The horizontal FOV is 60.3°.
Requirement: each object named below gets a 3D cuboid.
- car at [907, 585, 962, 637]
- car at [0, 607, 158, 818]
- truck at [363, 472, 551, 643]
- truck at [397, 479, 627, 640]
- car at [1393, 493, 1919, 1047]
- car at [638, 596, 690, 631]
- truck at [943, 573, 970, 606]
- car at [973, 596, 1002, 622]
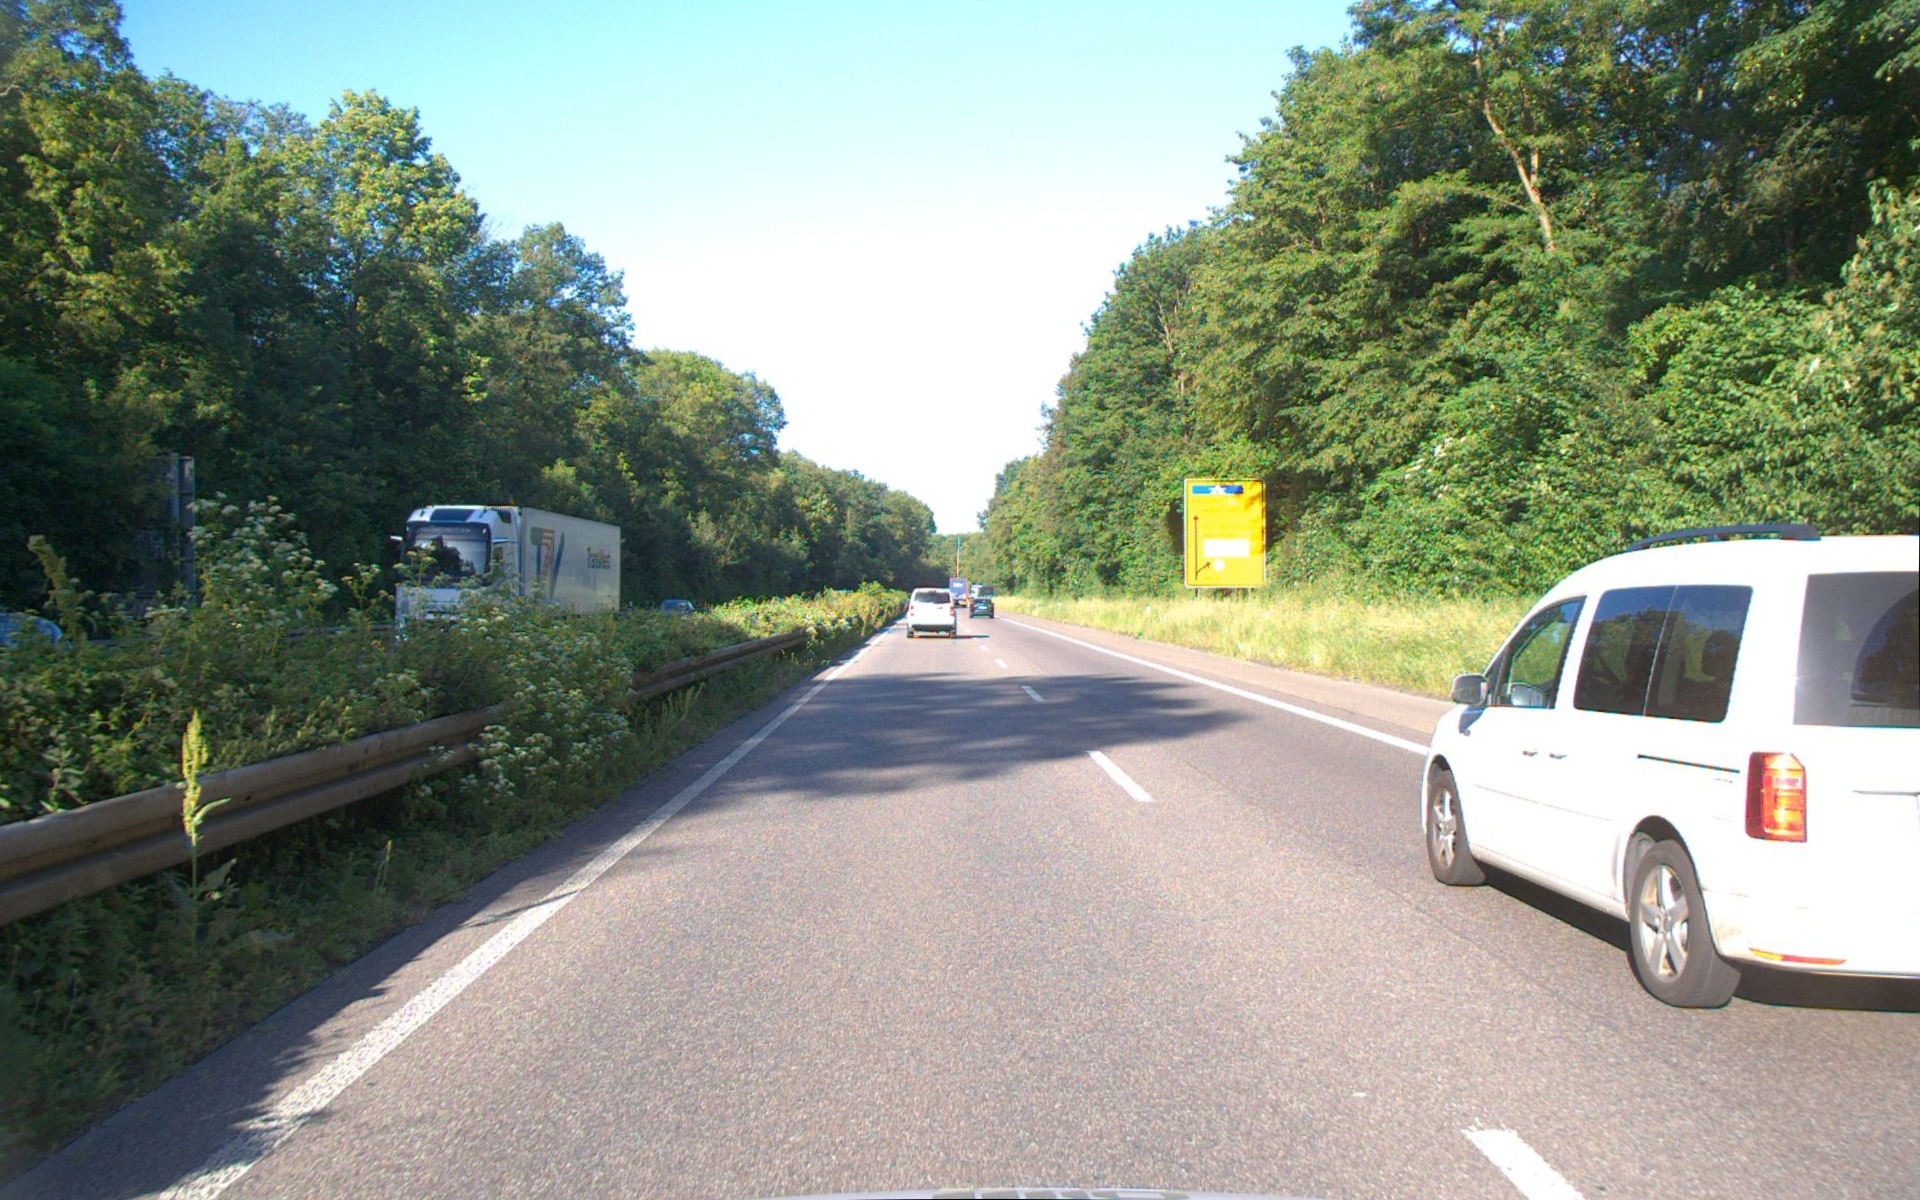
[{"bbox_3d":[-0.972,0.413,61.466,1.912,1.813,4.586,1,0,-1],"label":"car"},{"bbox_3d":[-8.471,0.889,13.699,1.726,1.644,3.988,1,0,-1],"label":"car"},{"bbox_3d":[-12.886,-1.038,42.908,3.163,4.083,5.675,1,0,-1],"label":"truck"},{"bbox_3d":[-13.003,-1.063,49.923,3.178,4.083,14.448,1,0,-1],"label":"truck"},{"bbox_3d":[3.595,0.596,7.851,1.762,1.844,4.586,1,0,-1],"label":"car"},{"bbox_3d":[-13.405,0.621,75.096,1.728,1.499,3.791,1,0,-1],"label":"car"},{"bbox_3d":[-0.513,-1.387,232.994,3.658,4.419,9.302,1,0,-1],"label":"truck"},{"bbox_3d":[2.008,0.637,121.323,1.912,1.813,4.586,1,0,-1],"label":"car"}]
